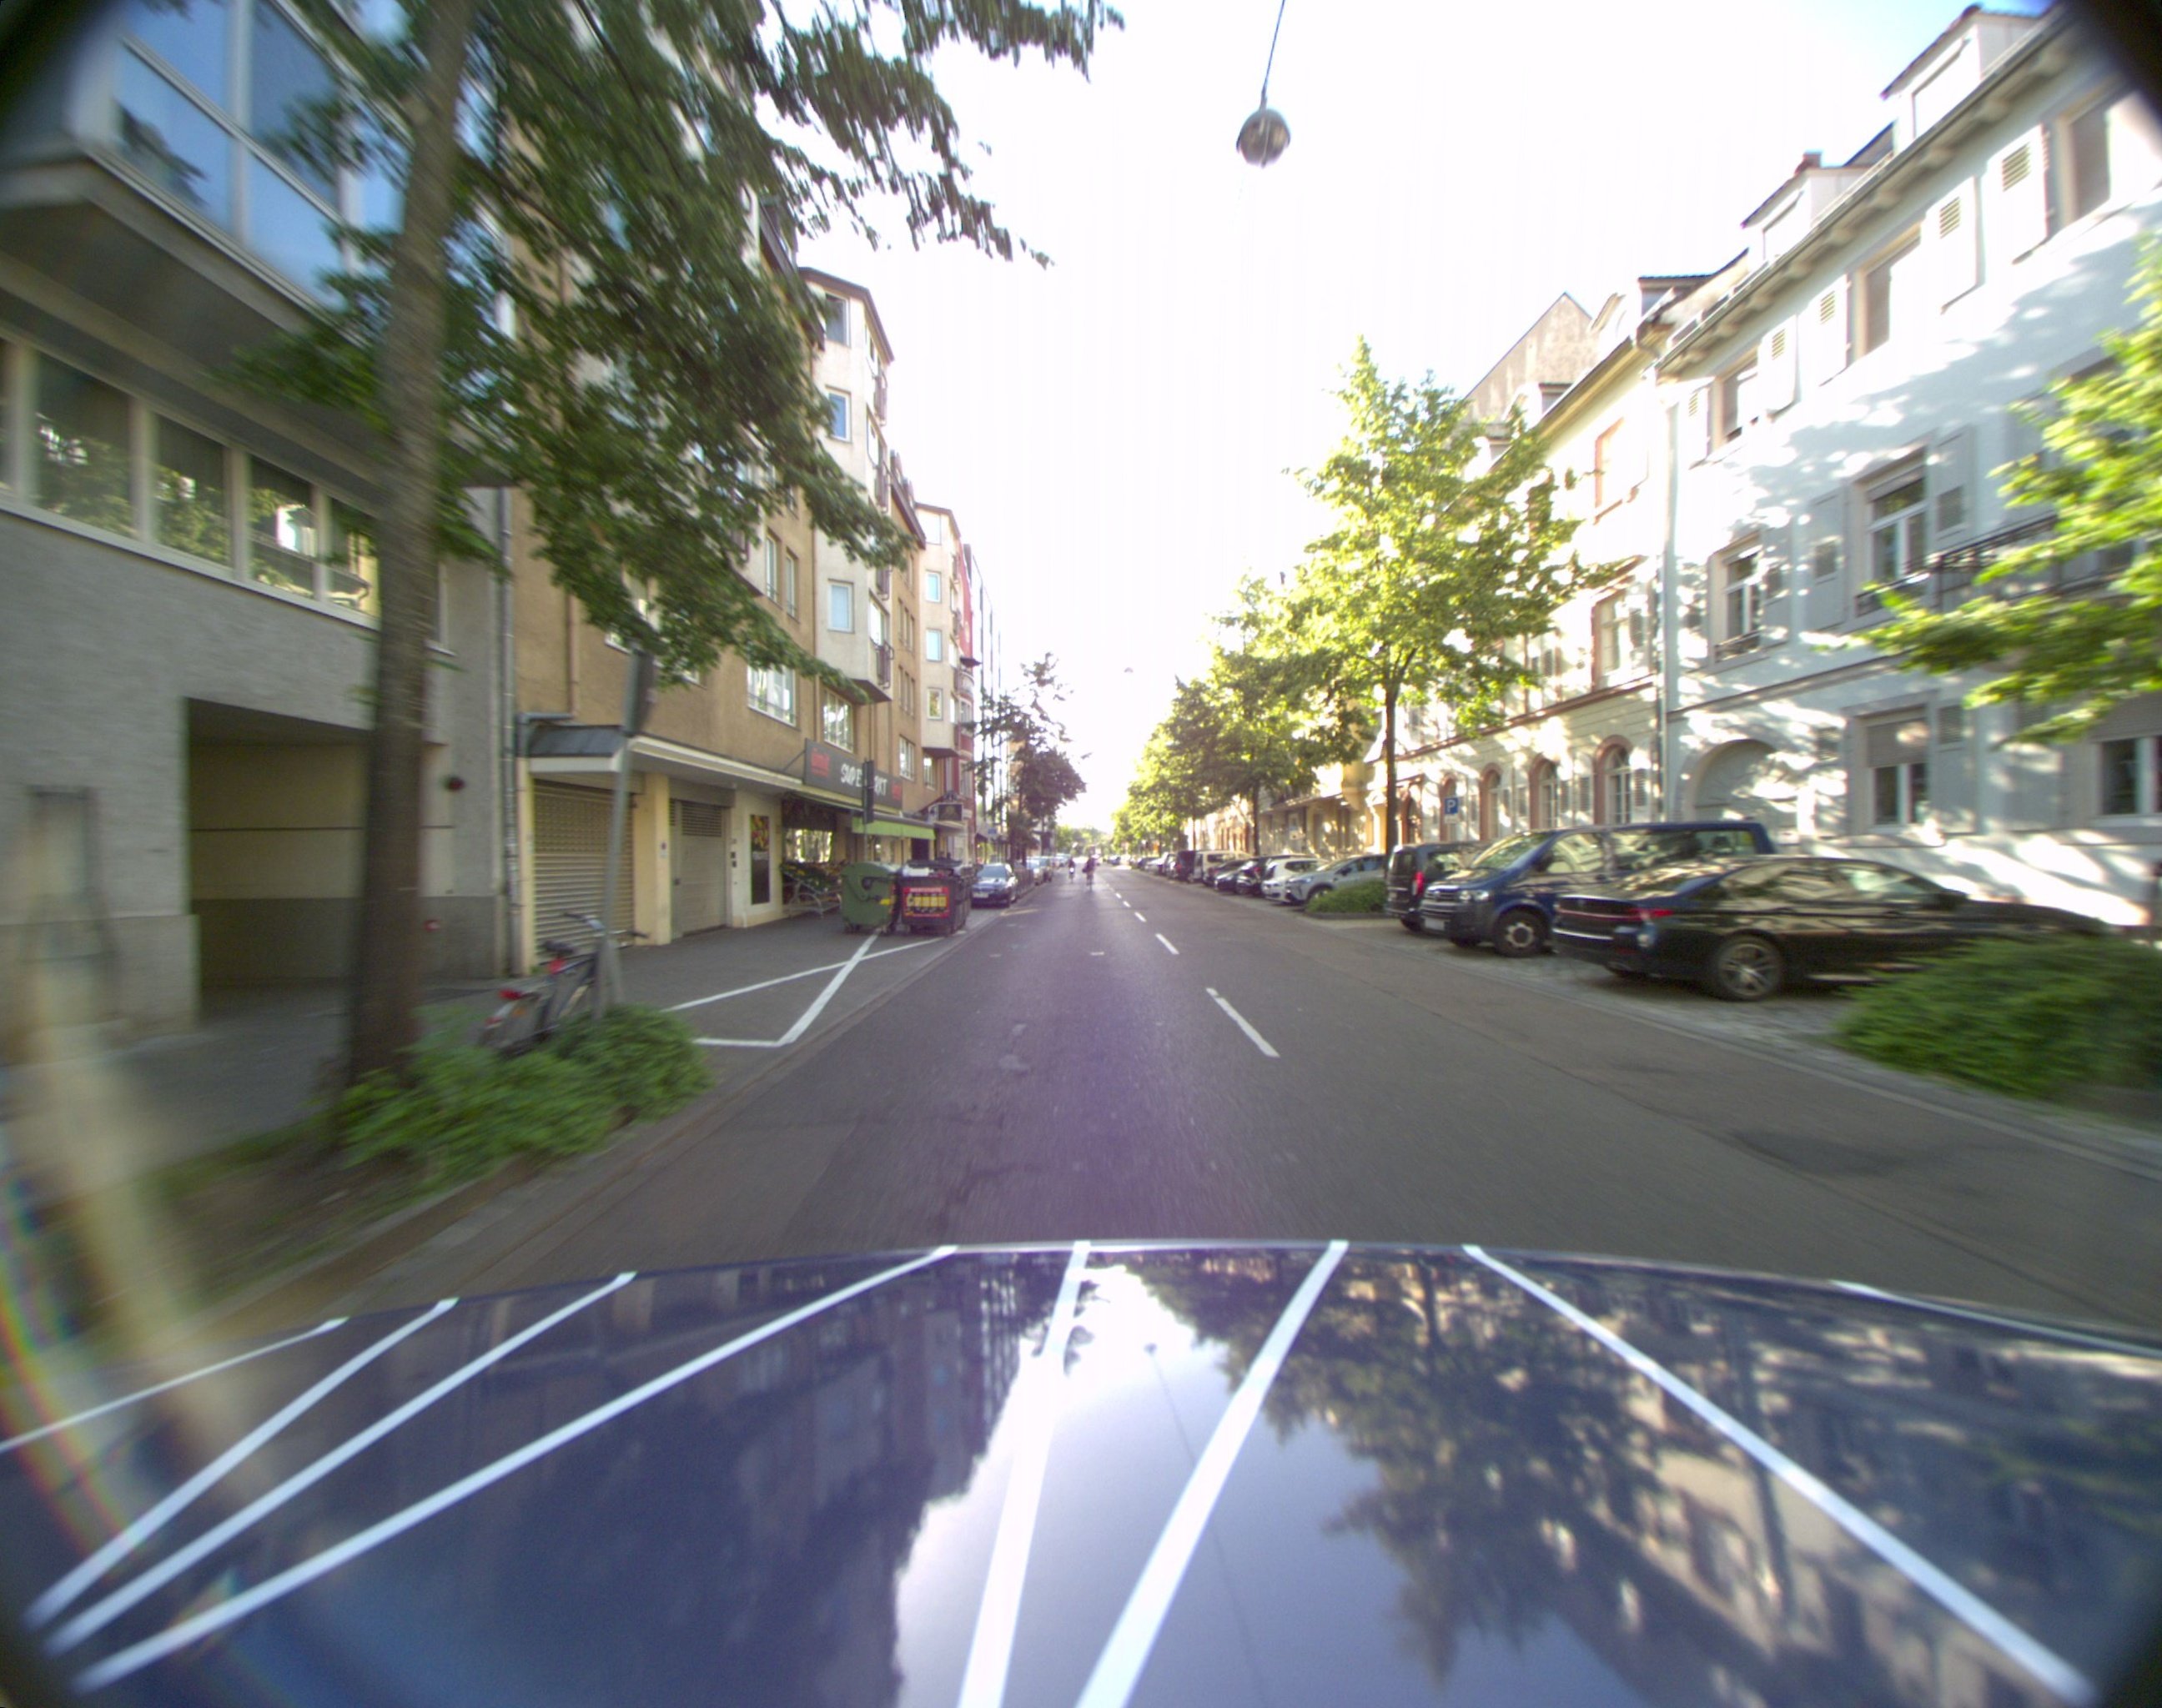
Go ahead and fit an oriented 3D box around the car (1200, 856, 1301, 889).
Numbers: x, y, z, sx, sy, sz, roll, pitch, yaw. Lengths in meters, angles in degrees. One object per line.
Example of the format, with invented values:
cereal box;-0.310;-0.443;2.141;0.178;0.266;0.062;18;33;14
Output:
car;8.083;0.860;36.488;4.351;1.430;1.916;-1;0;-2

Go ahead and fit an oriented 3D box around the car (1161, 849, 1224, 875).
car;8.339;0.597;57.092;4.351;1.813;1.929;-1;0;-2

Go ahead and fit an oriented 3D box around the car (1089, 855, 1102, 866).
car;2.415;0.992;123.134;1.915;1.536;4.353;-3;1;2

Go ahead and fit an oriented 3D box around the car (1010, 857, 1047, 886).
car;-3.122;1.004;45.790;1.826;1.587;4.841;2;0;0

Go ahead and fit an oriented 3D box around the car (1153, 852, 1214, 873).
car;8.031;0.681;59.658;4.353;1.535;1.963;-1;0;-7

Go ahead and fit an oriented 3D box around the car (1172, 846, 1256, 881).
car;7.694;0.555;44.370;4.584;1.915;1.930;-1;1;3

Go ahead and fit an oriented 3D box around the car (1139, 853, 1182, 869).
car;8.273;0.690;79.261;4.349;1.535;1.944;-1;0;2

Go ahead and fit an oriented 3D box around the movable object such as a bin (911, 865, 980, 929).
movable object such as a bin;-3.155;0.985;17.805;1.402;1.445;1.146;0;0;0

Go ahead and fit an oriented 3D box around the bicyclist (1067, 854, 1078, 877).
bicyclist;-0.565;0.773;51.028;0.658;1.562;0.909;-1;1;0

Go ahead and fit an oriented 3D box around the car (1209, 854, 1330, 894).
car;7.626;0.794;31.089;4.476;1.532;1.917;-1;0;2

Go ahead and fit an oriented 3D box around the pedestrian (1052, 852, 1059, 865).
pedestrian;-3.247;0.547;97.037;0.699;1.709;0.693;1;1;-23

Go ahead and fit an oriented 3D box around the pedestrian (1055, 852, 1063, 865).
pedestrian;-2.825;0.557;96.449;0.693;1.709;0.897;2;1;25

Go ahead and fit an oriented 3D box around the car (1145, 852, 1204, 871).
car;8.163;0.628;66.577;4.713;1.484;1.999;-2;2;-4

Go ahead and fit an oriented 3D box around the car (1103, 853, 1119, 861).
car;5.569;0.471;141.416;1.771;1.421;4.006;-1;0;20

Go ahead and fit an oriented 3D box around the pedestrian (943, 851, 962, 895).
pedestrian;-4.994;0.746;29.517;0.618;1.686;0.762;0;1;0

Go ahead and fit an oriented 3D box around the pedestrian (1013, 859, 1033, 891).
pedestrian;-2.782;0.986;36.413;0.750;1.527;0.808;0;1;15

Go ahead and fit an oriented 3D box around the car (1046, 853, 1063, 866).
car;-3.525;0.718;100.641;1.978;1.565;4.126;2;0;0

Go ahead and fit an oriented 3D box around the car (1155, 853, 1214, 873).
car;8.702;0.757;64.232;4.710;1.483;2.000;-2;0;2

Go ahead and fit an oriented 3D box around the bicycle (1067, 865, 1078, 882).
bicycle;-0.558;1.315;50.896;0.666;1.061;1.836;-1;0;0

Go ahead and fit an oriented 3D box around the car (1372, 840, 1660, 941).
car;8.292;0.663;14.812;4.477;1.761;1.917;-1;0;2

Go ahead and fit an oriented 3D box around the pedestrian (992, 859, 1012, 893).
pedestrian;-3.644;1.018;35.148;0.712;1.527;0.770;0;1;15

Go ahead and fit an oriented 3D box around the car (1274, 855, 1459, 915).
car;7.875;0.831;21.328;4.476;1.532;1.917;-1;0;4

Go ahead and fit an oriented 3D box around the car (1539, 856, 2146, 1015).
car;7.775;0.804;8.143;4.656;1.451;1.684;-1;0;3

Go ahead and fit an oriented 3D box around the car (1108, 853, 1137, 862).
car;6.575;0.561;120.364;4.006;1.433;1.995;-1;0;-31

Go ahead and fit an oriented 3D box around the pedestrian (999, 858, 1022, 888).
pedestrian;-3.653;0.966;39.380;1.058;1.527;0.892;0;1;4

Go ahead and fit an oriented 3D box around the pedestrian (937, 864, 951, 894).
pedestrian;-5.340;0.976;29.560;0.444;1.156;0.501;0;1;2

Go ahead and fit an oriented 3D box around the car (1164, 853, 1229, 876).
car;8.257;0.739;54.607;4.351;1.535;1.916;-1;0;-2

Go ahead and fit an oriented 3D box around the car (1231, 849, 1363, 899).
car;8.039;0.719;28.506;4.353;1.699;1.915;-1;0;-7

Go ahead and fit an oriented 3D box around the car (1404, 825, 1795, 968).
car;7.747;0.605;11.721;4.692;1.938;1.916;-1;1;1

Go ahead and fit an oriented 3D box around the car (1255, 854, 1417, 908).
car;8.002;0.819;24.107;4.477;1.532;1.916;-1;0;0

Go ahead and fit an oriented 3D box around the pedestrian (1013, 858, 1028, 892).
pedestrian;-2.794;0.958;35.114;0.652;1.527;0.980;0;1;-1

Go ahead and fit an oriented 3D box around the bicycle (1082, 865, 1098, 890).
bicycle;0.451;1.136;37.306;0.718;1.105;2.269;-1;0;-1

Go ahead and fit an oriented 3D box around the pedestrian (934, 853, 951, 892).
pedestrian;-6.045;0.789;33.145;0.631;1.686;0.502;0;1;-23

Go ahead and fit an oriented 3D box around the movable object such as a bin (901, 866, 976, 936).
movable object such as a bin;-3.092;1.003;16.642;1.402;1.445;1.146;0;0;0

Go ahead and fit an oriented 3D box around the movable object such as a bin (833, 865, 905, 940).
movable object such as a bin;-4.249;0.942;15.327;1.080;1.423;1.295;0;0;0

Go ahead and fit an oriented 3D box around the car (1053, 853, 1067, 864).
car;-3.266;0.728;117.653;1.998;1.565;4.000;2;0;0

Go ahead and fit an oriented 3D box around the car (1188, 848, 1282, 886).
car;7.941;0.624;39.318;4.354;1.823;1.915;-1;1;-9

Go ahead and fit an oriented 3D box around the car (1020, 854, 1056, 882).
car;-2.893;0.891;52.152;1.826;1.767;4.932;2;0;4

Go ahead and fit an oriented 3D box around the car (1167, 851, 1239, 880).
car;7.931;0.737;49.577;4.351;1.723;1.916;-1;0;-2

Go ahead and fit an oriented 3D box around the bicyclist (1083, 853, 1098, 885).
bicyclist;0.456;0.711;37.008;0.718;1.553;0.864;-1;1;-1

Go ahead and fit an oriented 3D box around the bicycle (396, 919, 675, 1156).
bicycle;-3.589;1.125;5.275;0.609;1.113;2.054;6;-1;-9

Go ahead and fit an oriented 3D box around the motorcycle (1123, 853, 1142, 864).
motorcycle;6.994;0.571;102.693;2.316;1.415;1.002;-1;1;27

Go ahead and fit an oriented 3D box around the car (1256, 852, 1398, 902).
car;8.446;0.774;26.348;4.350;1.572;1.809;-1;0;0

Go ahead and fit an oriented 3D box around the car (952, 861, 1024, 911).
car;-3.117;1.021;26.366;1.826;1.463;4.911;2;0;0

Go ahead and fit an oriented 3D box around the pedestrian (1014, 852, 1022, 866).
pedestrian;-7.841;0.639;94.860;0.618;1.683;0.717;-1;1;27

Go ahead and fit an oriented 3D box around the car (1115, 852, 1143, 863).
car;7.475;0.498;118.145;4.006;1.553;1.995;-1;0;-31

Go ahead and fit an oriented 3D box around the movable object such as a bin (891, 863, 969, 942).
movable object such as a bin;-3.050;0.963;15.477;1.334;1.533;1.146;0;0;0
